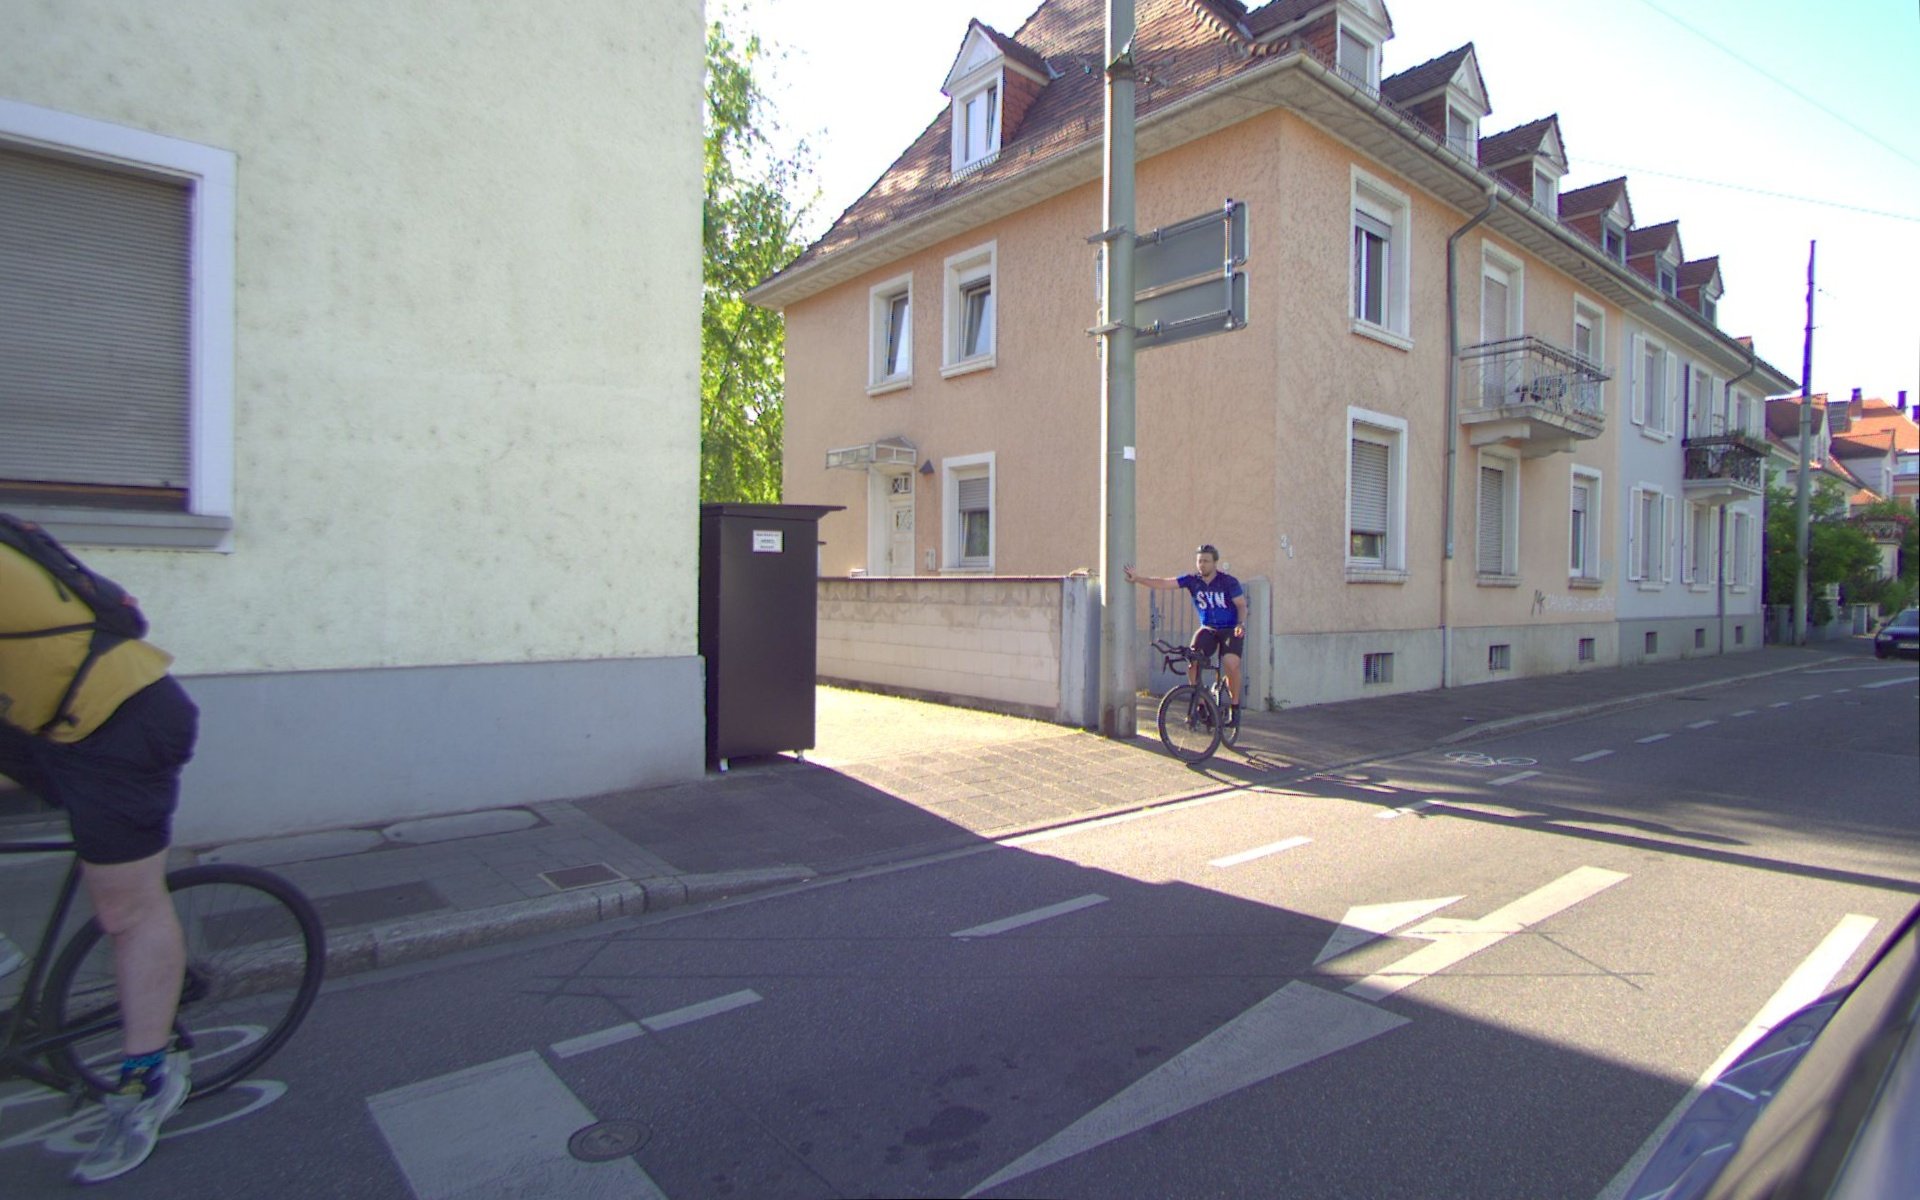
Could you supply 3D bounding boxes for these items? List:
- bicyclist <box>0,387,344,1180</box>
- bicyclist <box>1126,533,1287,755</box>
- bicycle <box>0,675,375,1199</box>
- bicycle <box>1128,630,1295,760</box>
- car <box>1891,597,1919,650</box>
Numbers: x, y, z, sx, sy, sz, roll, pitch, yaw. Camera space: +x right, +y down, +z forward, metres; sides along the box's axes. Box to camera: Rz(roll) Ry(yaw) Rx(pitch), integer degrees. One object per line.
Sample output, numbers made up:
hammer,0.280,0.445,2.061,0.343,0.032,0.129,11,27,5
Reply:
bicyclist,-2.300,0.421,2.706,1.018,1.840,0.653,0,1,-41
bicyclist,2.284,0.359,9.440,0.831,1.887,1.076,0,4,-40
bicycle,-2.476,0.843,2.541,1.669,1.180,0.572,0,1,-41
bicycle,2.317,0.816,9.215,1.669,1.003,0.572,0,4,-41
car,26.699,0.626,27.349,3.796,1.382,1.648,0,1,-38
